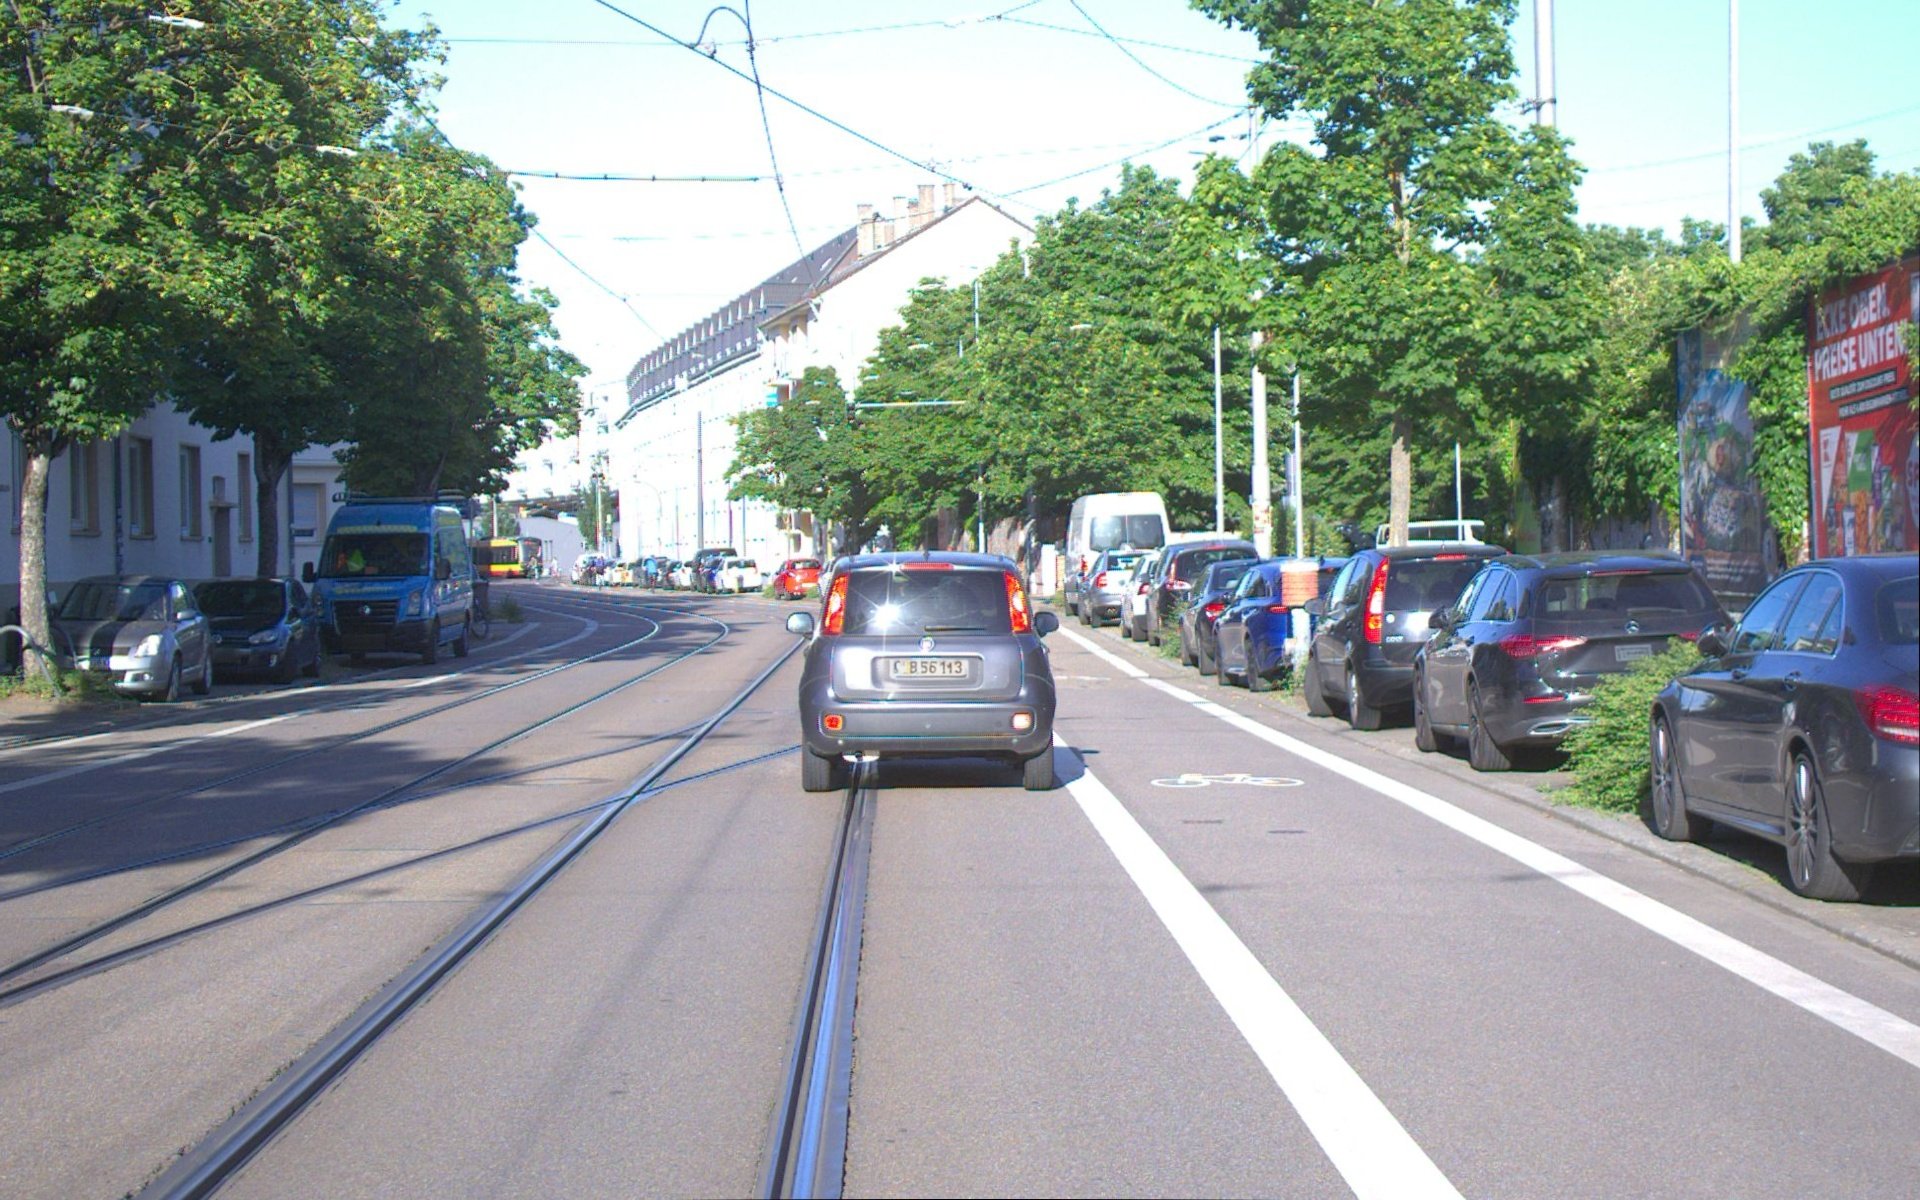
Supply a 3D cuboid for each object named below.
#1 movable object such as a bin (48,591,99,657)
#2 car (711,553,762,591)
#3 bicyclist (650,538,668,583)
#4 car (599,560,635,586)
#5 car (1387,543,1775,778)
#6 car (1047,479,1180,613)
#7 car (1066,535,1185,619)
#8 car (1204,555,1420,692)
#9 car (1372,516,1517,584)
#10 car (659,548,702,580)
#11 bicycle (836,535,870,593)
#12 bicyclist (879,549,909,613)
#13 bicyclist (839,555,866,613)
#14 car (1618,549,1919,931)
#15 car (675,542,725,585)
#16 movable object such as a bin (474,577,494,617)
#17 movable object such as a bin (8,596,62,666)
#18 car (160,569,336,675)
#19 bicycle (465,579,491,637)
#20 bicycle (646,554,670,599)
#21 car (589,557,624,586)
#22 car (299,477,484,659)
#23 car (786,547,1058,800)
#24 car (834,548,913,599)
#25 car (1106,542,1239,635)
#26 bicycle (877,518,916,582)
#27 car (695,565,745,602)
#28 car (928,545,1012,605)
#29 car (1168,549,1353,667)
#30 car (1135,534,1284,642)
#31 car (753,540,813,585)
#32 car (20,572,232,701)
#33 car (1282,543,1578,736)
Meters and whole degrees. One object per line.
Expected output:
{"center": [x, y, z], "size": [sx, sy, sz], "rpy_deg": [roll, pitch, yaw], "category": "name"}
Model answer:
{"center": [-12.805, 0.339, 49.678], "size": [0.596, 0.931, 0.569], "rpy_deg": [-1, 1, -3], "category": "movable object such as a bin"}
{"center": [-9.293, -1.154, 142.569], "size": [1.655, 1.566, 3.500], "rpy_deg": [0, 1, -11], "category": "car"}
{"center": [-13.509, -1.784, 154.088], "size": [0.715, 2.007, 0.832], "rpy_deg": [0, 0, -12], "category": "bicyclist"}
{"center": [-18.440, -1.448, 184.781], "size": [1.582, 1.400, 3.377], "rpy_deg": [0, 1, -12], "category": "car"}
{"center": [4.222, 0.361, 24.091], "size": [1.824, 1.447, 4.642], "rpy_deg": [-1, 1, 0], "category": "car"}
{"center": [3.237, -1.140, 73.871], "size": [2.180, 2.656, 6.092], "rpy_deg": [-3, 1, -2], "category": "car"}
{"center": [3.199, -0.456, 67.211], "size": [1.910, 1.524, 4.601], "rpy_deg": [-2, 1, -2], "category": "car"}
{"center": [3.912, 0.225, 38.817], "size": [1.727, 1.459, 4.342], "rpy_deg": [0, 1, -4], "category": "car"}
{"center": [15.687, -1.626, 111.435], "size": [4.279, 2.007, 1.774], "rpy_deg": [-3, 1, -6], "category": "car"}
{"center": [-13.213, -1.706, 162.515], "size": [1.655, 1.495, 3.130], "rpy_deg": [0, 1, -11], "category": "car"}
{"center": [-3.264, -1.094, 104.432], "size": [0.675, 1.741, 2.158], "rpy_deg": [0, 0, -12], "category": "bicycle"}
{"center": [-1.828, -0.525, 95.340], "size": [0.699, 1.753, 0.758], "rpy_deg": [0, 0, -12], "category": "bicyclist"}
{"center": [-3.279, -0.477, 104.385], "size": [0.699, 1.753, 0.758], "rpy_deg": [0, 0, -12], "category": "bicyclist"}
{"center": [4.349, 0.523, 15.634], "size": [1.824, 1.479, 4.601], "rpy_deg": [0, 1, 0], "category": "car"}
{"center": [-11.783, -1.640, 155.537], "size": [1.655, 1.937, 4.666], "rpy_deg": [0, 1, -11], "category": "car"}
{"center": [-11.806, -0.068, 85.242], "size": [0.484, 0.984, 0.660], "rpy_deg": [0, 0, -8], "category": "movable object such as a bin"}
{"center": [-12.711, 0.426, 47.258], "size": [0.596, 0.931, 0.569], "rpy_deg": [-1, 1, -3], "category": "movable object such as a bin"}
{"center": [-9.948, 0.282, 48.302], "size": [1.651, 1.420, 4.190], "rpy_deg": [0, 1, -1], "category": "car"}
{"center": [-9.698, 0.153, 69.146], "size": [0.512, 1.130, 2.032], "rpy_deg": [0, 0, -8], "category": "bicycle"}
{"center": [-13.525, -1.073, 154.082], "size": [0.741, 2.007, 2.812], "rpy_deg": [0, 0, -12], "category": "bicycle"}
{"center": [-19.592, -1.604, 190.280], "size": [1.582, 1.593, 3.377], "rpy_deg": [0, 1, -12], "category": "car"}
{"center": [-9.220, -0.530, 56.255], "size": [2.017, 2.816, 6.032], "rpy_deg": [0, 1, 0], "category": "car"}
{"center": [-0.272, 0.423, 23.127], "size": [1.650, 1.536, 4.235], "rpy_deg": [0, 1, -1], "category": "car"}
{"center": [-2.788, -0.850, 109.768], "size": [1.688, 1.525, 4.001], "rpy_deg": [-3, 1, -13], "category": "car"}
{"center": [3.551, -0.202, 58.056], "size": [1.727, 1.507, 4.252], "rpy_deg": [0, 1, -4], "category": "car"}
{"center": [-1.768, -1.386, 95.244], "size": [0.675, 1.741, 2.158], "rpy_deg": [0, 0, -12], "category": "bicycle"}
{"center": [-10.266, -0.708, 147.006], "size": [1.655, 1.566, 3.877], "rpy_deg": [0, 1, -11], "category": "car"}
{"center": [0.245, -0.673, 93.031], "size": [1.688, 1.525, 4.001], "rpy_deg": [-3, 1, -8], "category": "car"}
{"center": [3.835, 0.078, 44.587], "size": [1.727, 1.459, 4.499], "rpy_deg": [0, 1, -4], "category": "car"}
{"center": [3.817, -0.198, 53.273], "size": [1.727, 1.599, 4.343], "rpy_deg": [0, 1, -4], "category": "car"}
{"center": [-6.421, -1.364, 124.348], "size": [1.635, 1.503, 3.398], "rpy_deg": [-4, 1, -10], "category": "car"}
{"center": [-10.119, 0.409, 41.982], "size": [1.651, 1.486, 4.000], "rpy_deg": [0, 1, -1], "category": "car"}
{"center": [4.031, 0.304, 30.081], "size": [1.824, 1.487, 3.815], "rpy_deg": [-3, 1, -3], "category": "car"}
